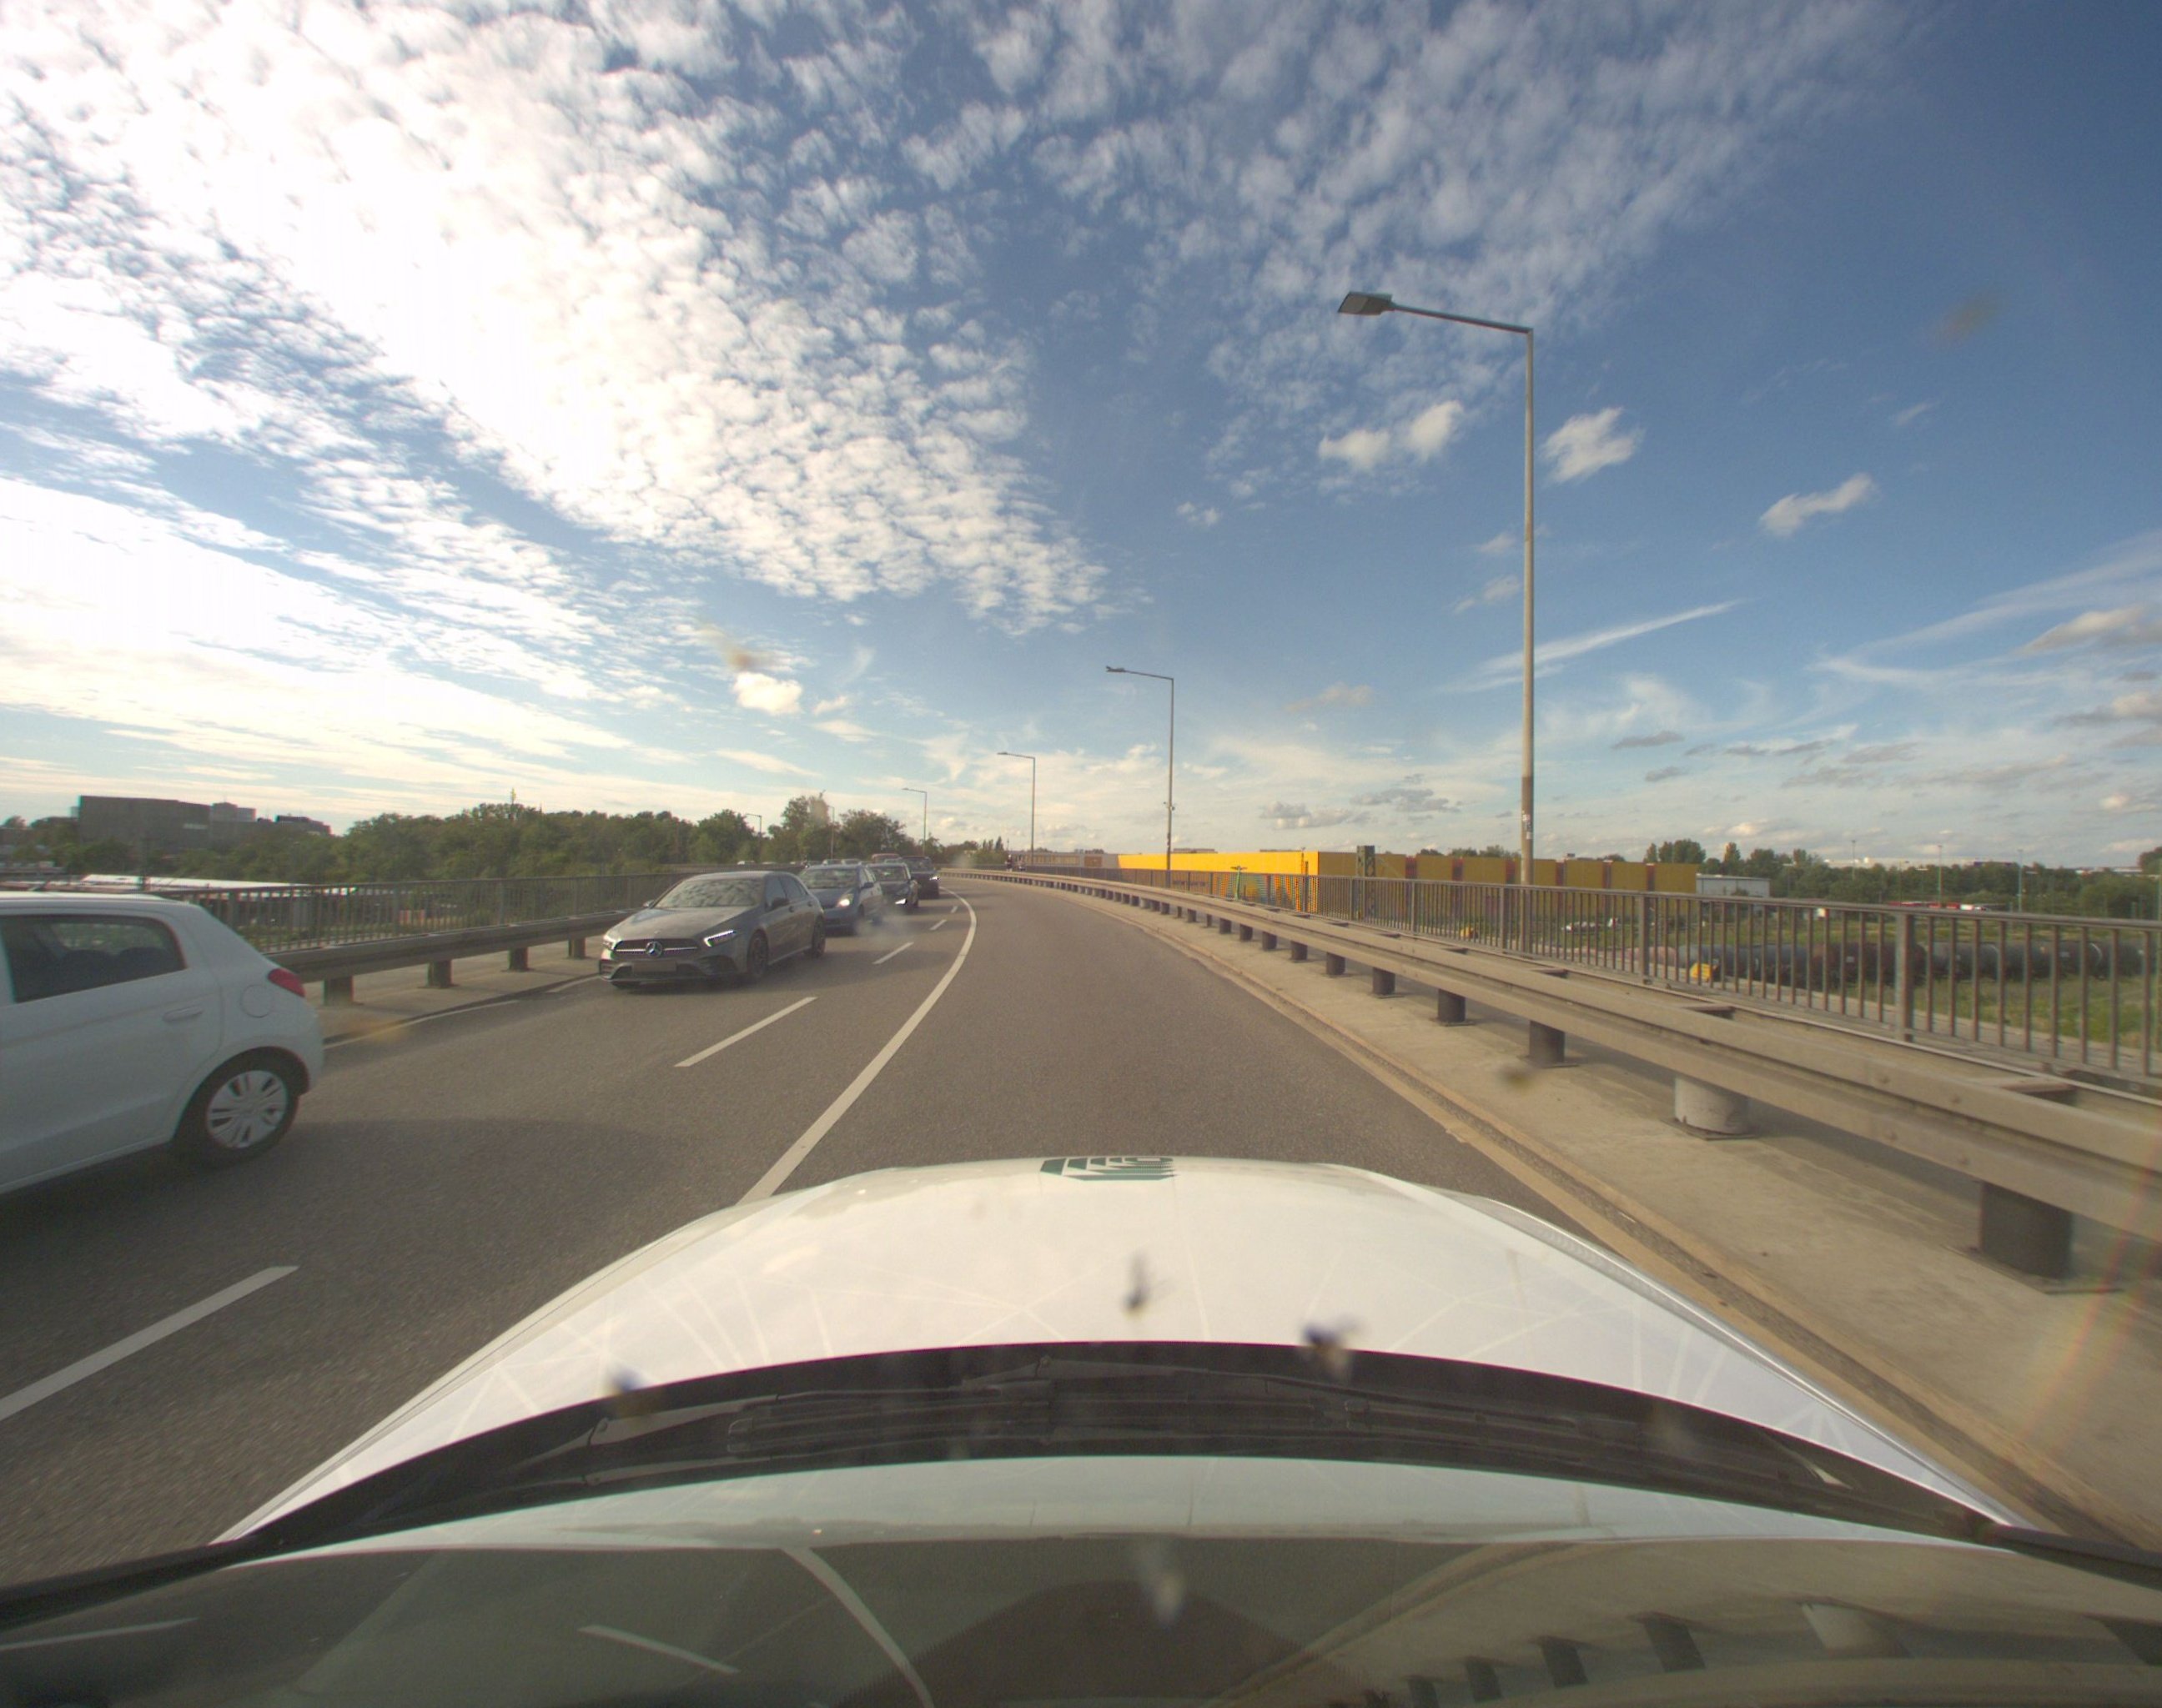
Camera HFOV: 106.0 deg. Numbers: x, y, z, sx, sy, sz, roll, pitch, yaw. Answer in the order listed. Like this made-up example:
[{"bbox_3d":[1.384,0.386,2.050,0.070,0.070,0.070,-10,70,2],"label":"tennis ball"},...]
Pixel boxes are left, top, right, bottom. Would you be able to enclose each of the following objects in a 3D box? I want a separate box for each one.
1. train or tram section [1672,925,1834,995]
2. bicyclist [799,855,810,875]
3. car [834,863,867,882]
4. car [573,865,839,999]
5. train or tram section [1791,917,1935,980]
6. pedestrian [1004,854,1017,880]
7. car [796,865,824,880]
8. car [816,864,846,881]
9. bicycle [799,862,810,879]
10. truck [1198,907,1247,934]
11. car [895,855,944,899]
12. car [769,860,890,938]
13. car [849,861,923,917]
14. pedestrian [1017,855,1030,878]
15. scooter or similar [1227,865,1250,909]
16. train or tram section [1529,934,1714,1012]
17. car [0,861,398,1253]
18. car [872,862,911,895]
[{"bbox_3d":[58.260,8.950,70.397,16.759,4.712,3.074,-1,-1,-22],"label":"train or tram section"},{"bbox_3d":[-22.665,0.903,66.744,0.769,1.661,1.111,-1,-1,-23],"label":"bicyclist"},{"bbox_3d":[-19.511,1.570,68.856,1.752,1.501,4.037,-1,0,-30],"label":"car"},{"bbox_3d":[-4.940,0.925,11.510,1.808,1.457,4.322,-1,0,-1],"label":"car"},{"bbox_3d":[73.710,8.746,76.607,16.759,4.712,3.074,-1,-1,-22],"label":"train or tram section"},{"bbox_3d":[-4.719,0.862,54.373,0.678,1.661,0.861,-1,-1,-15],"label":"pedestrian"},{"bbox_3d":[-27.531,1.853,82.784,1.753,1.501,4.035,-1,0,-33],"label":"car"},{"bbox_3d":[-23.229,1.702,75.490,1.752,1.501,4.037,-1,0,-31],"label":"car"},{"bbox_3d":[-22.632,1.370,66.667,0.767,1.332,1.902,-1,-1,-22],"label":"bicycle"},{"bbox_3d":[21.830,10.189,125.503,7.234,3.617,2.649,-1,1,-20],"label":"truck"},{"bbox_3d":[-6.614,0.891,33.641,1.829,1.672,4.849,-1,0,-10],"label":"car"},{"bbox_3d":[-5.557,0.915,18.546,1.757,1.490,4.382,-1,0,-6],"label":"car"},{"bbox_3d":[-5.876,0.989,24.997,1.759,1.490,4.433,-1,0,-8],"label":"car"},{"bbox_3d":[-3.872,0.850,54.631,0.678,1.544,0.956,-1,-1,-15],"label":"pedestrian"},{"bbox_3d":[4.286,0.890,22.230,0.265,1.162,1.186,-1,-1,-6],"label":"scooter or similar"},{"bbox_3d":[42.771,9.140,64.123,16.759,4.712,3.074,-1,-1,-22],"label":"train or tram section"},{"bbox_3d":[-5.128,0.825,3.122,1.677,1.545,3.922,-2,-1,0],"label":"car"},{"bbox_3d":[-11.791,1.452,50.551,2.012,1.903,4.839,-1,0,-17],"label":"car"}]
